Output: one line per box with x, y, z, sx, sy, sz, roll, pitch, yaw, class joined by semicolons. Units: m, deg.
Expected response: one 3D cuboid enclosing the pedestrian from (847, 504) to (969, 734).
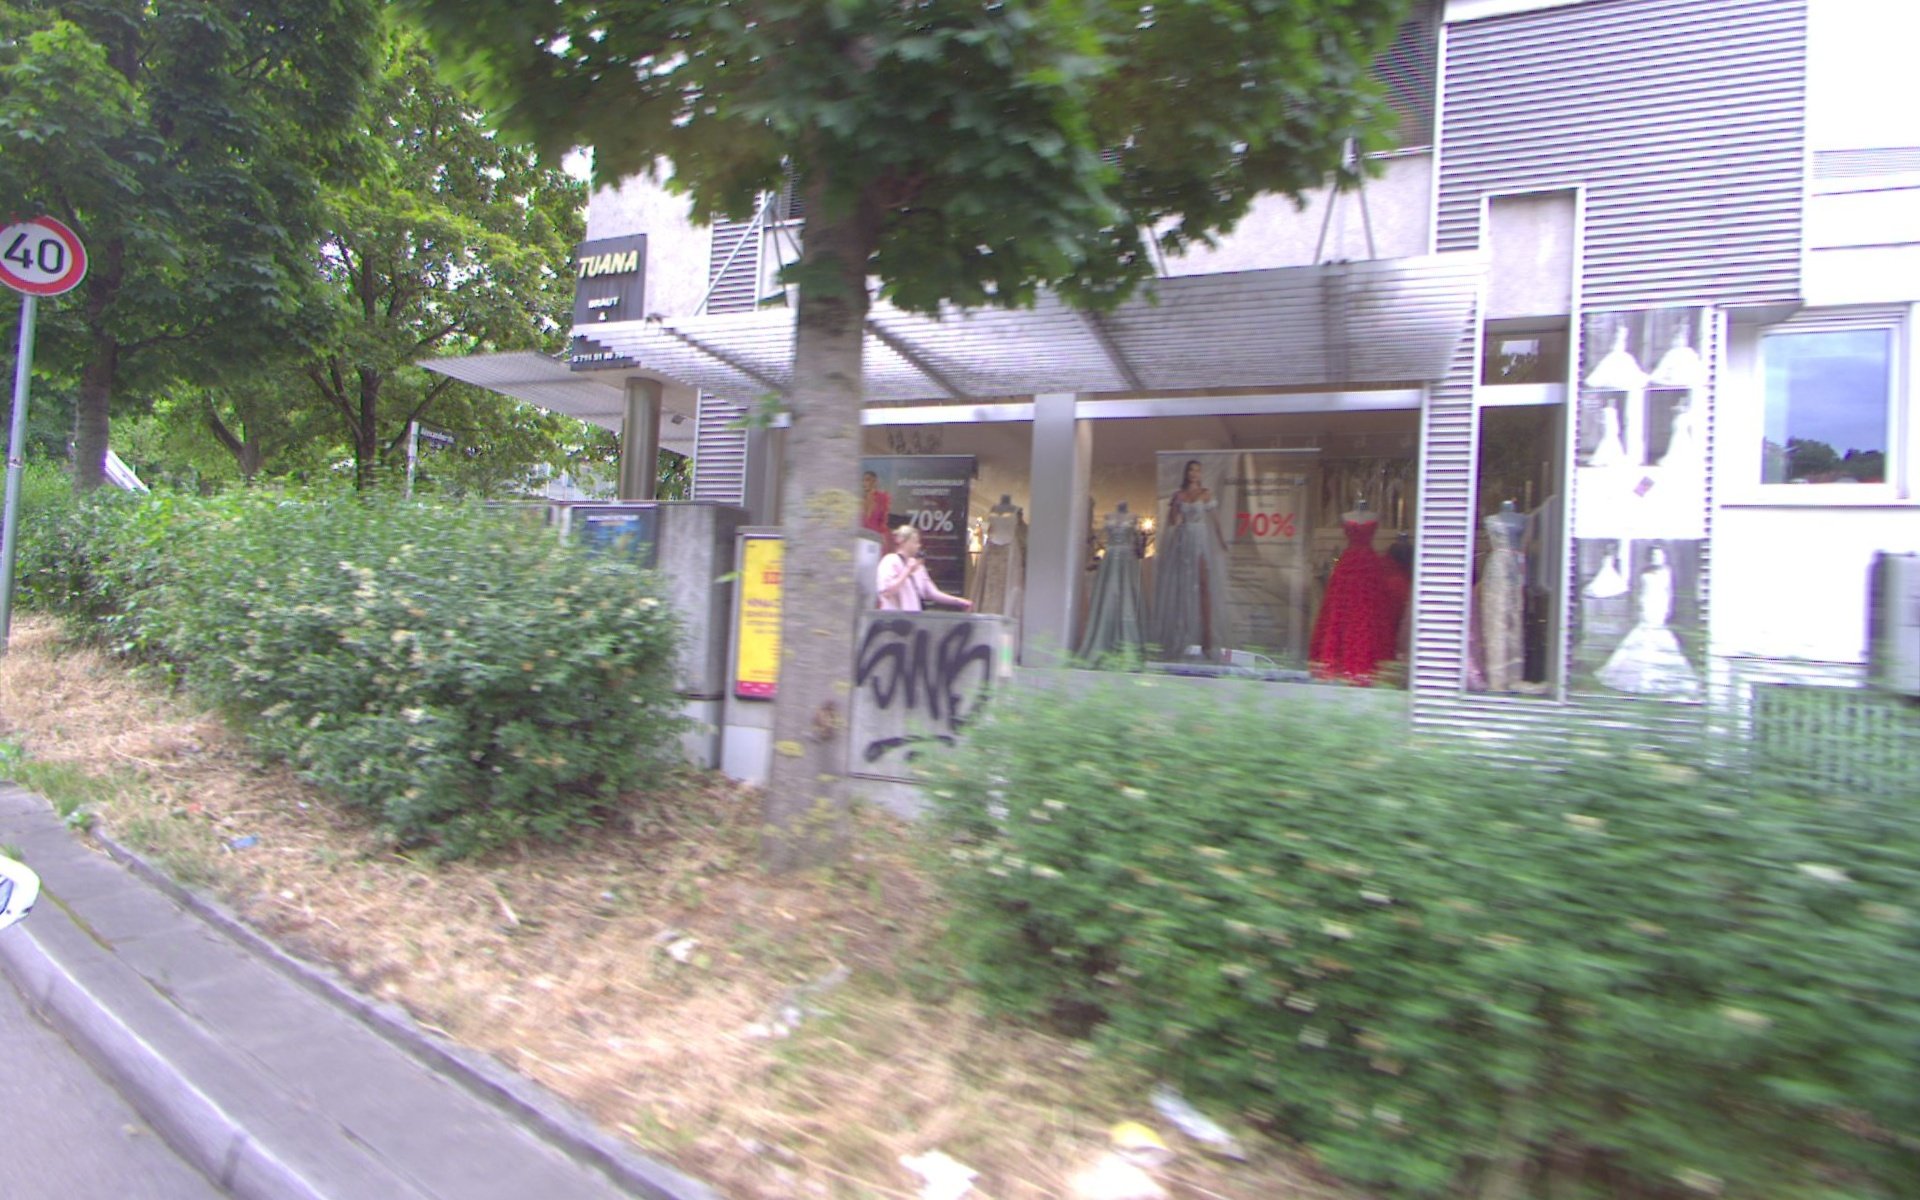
-0.425;0.169;8.511;0.597;1.815;0.676;6;-1;21;pedestrian

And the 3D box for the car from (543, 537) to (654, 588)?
-18.574;-1.917;51.757;4.886;2.050;2.034;4;-4;12;car

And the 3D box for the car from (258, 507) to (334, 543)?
-48.839;-5.476;74.045;1.968;2.038;4.132;6;0;34;car
